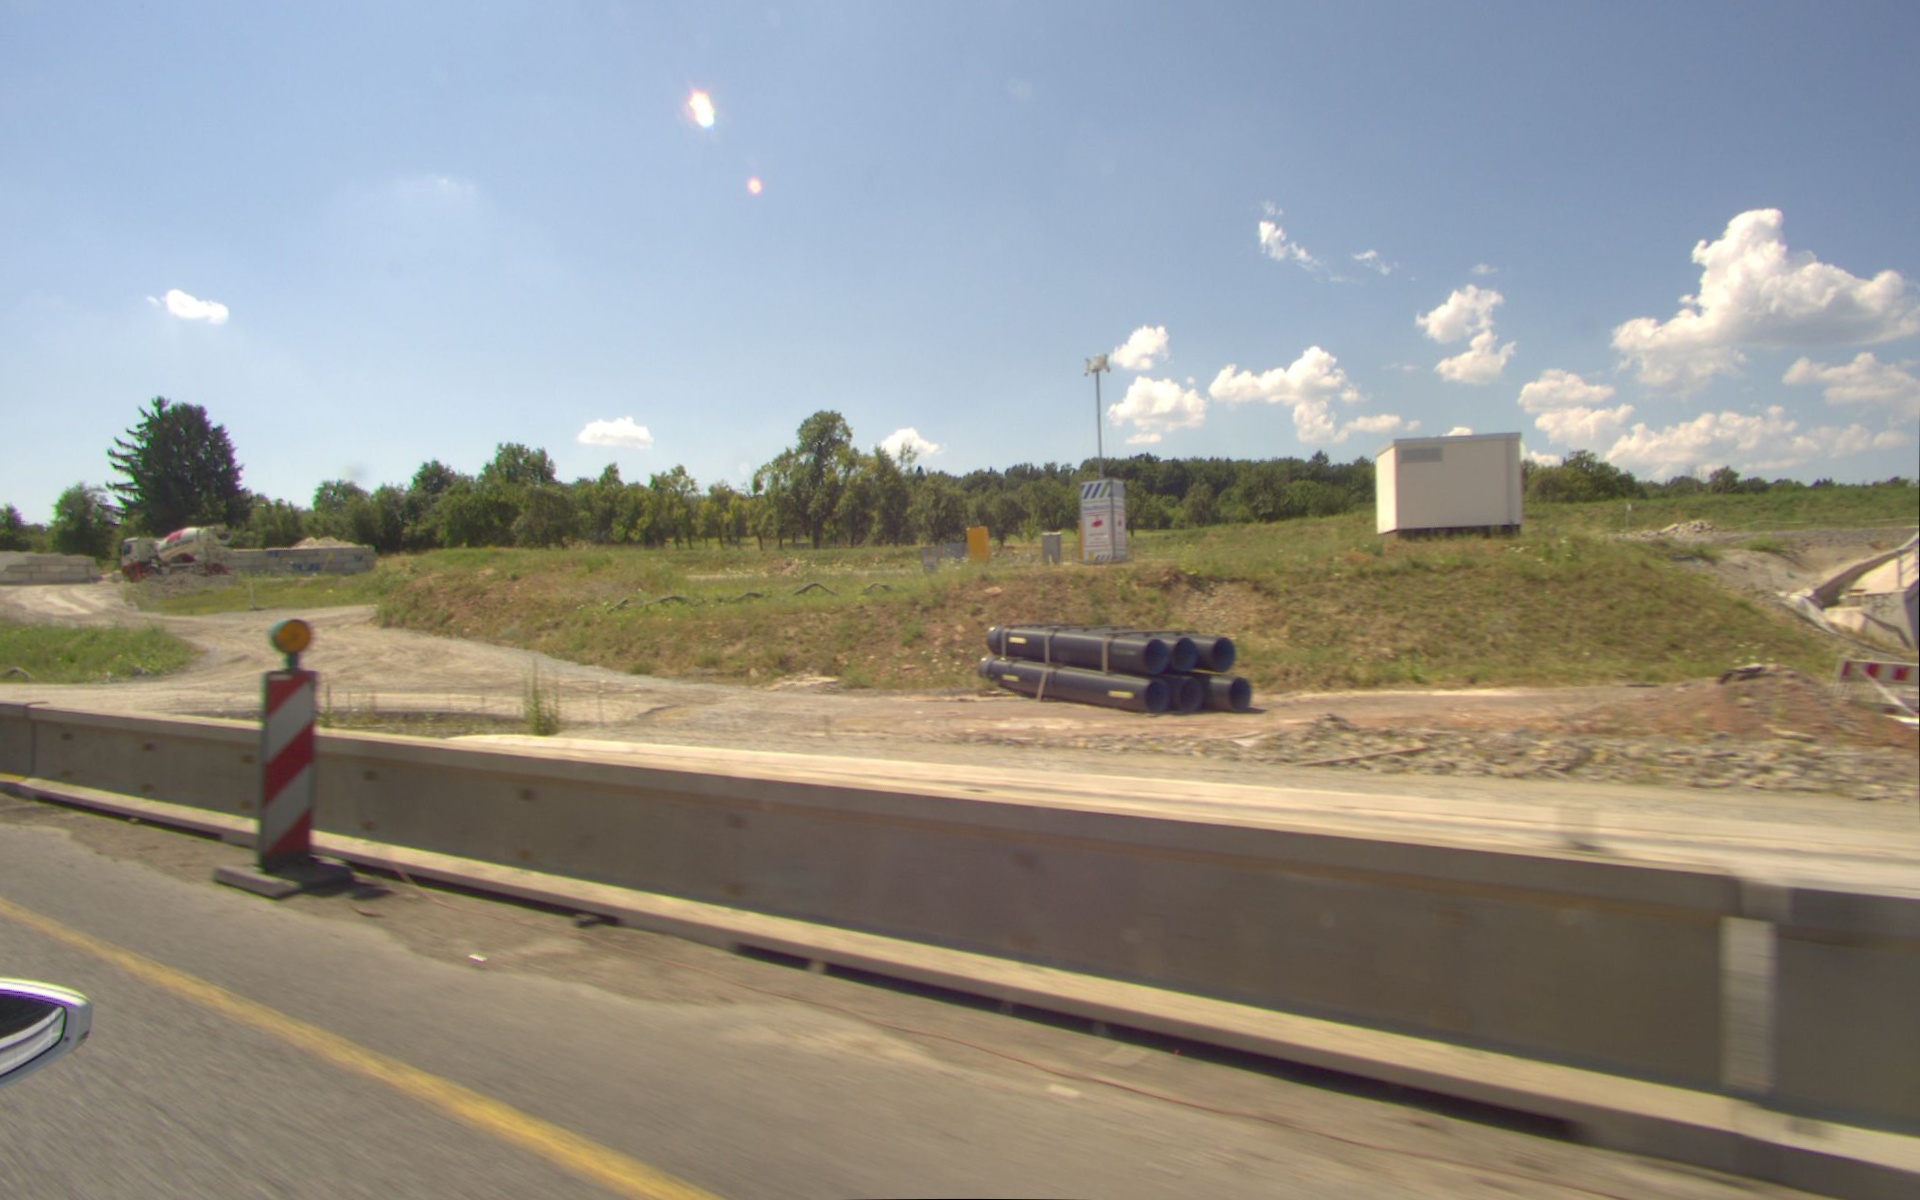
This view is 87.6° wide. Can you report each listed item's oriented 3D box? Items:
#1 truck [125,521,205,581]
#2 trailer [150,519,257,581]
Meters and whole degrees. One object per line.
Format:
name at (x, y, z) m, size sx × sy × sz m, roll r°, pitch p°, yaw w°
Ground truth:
truck at (-57.709, -3.479, 72.722) m, size 4.027 × 4.150 × 2.749 m, roll 0°, pitch 1°, yaw 18°
trailer at (-53.972, -3.507, 71.479) m, size 6.625 × 4.169 × 2.760 m, roll 0°, pitch 1°, yaw 18°
